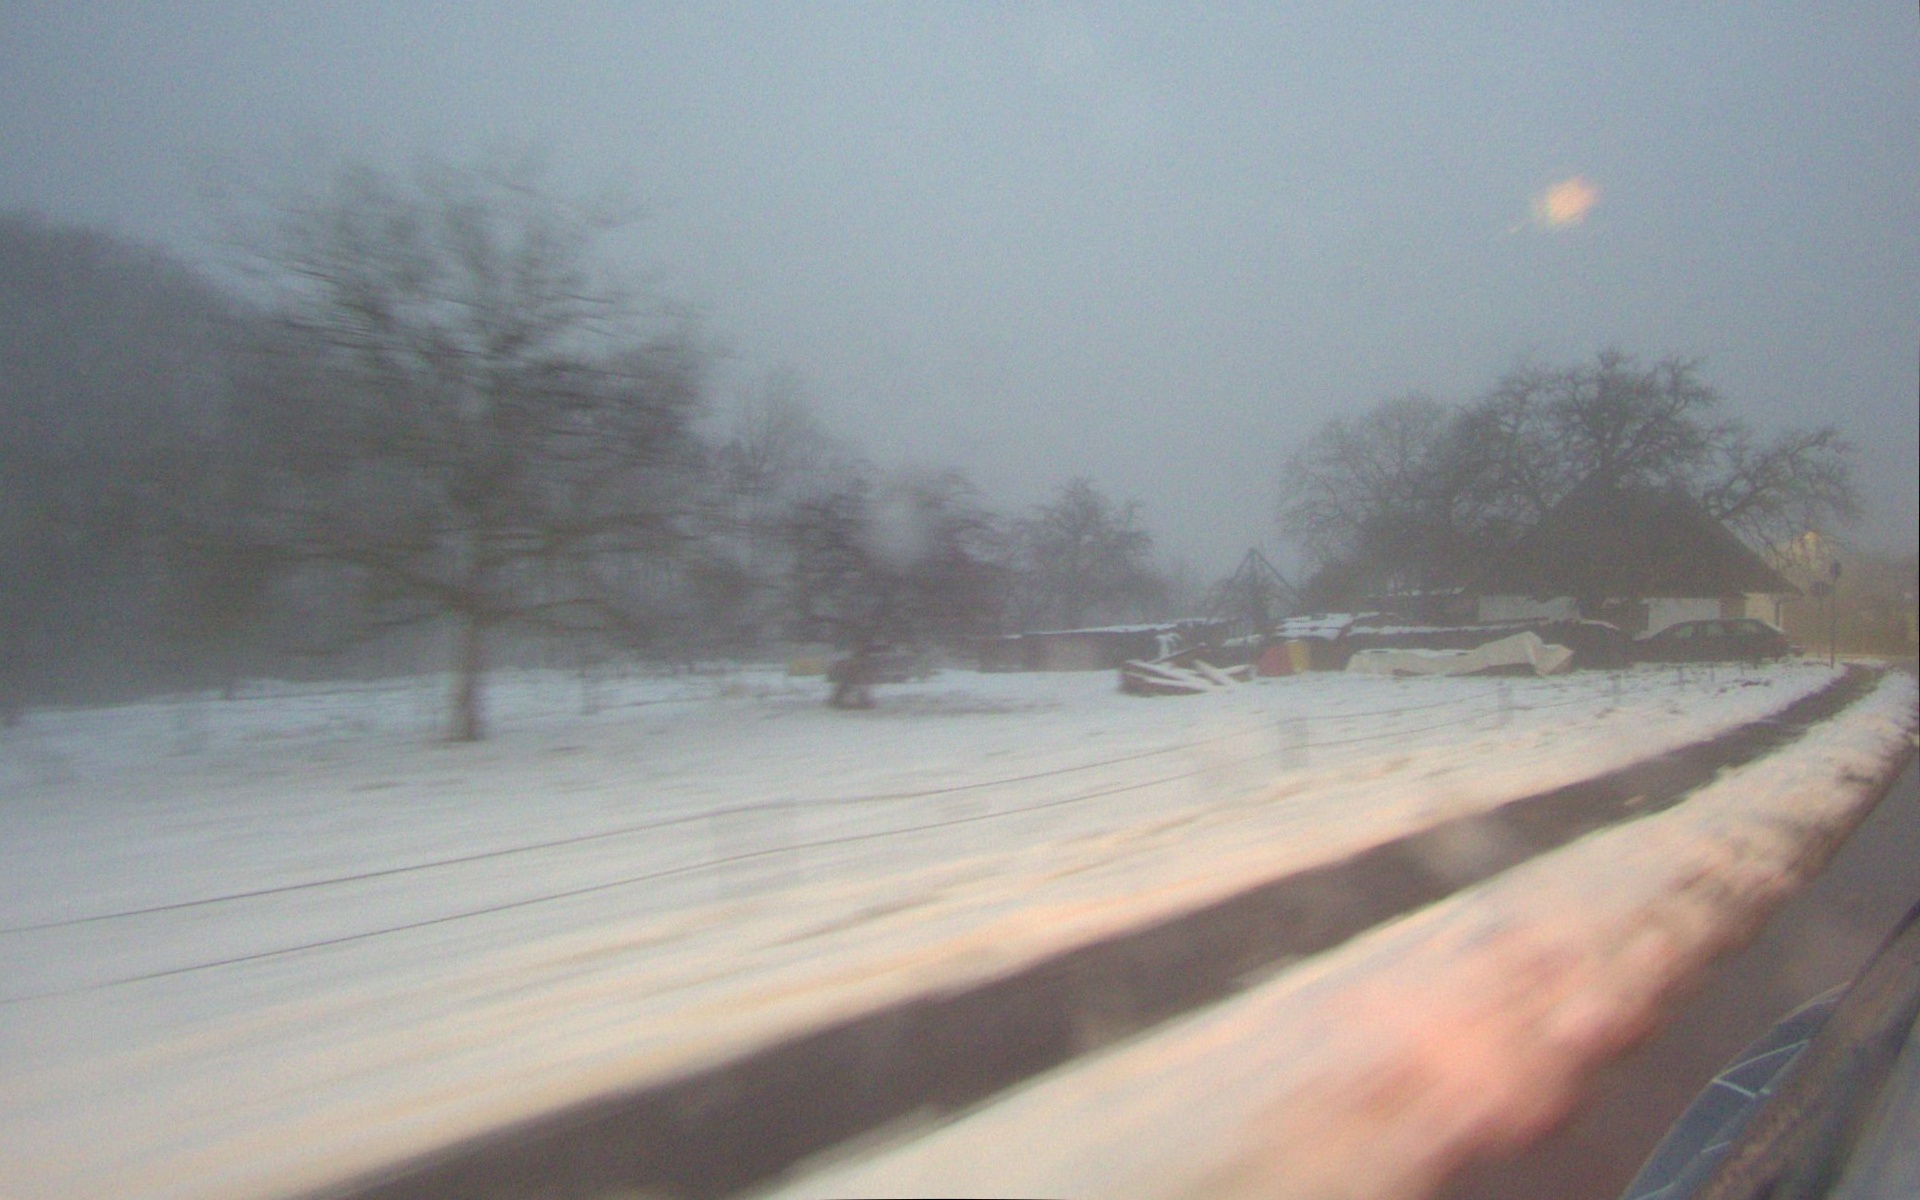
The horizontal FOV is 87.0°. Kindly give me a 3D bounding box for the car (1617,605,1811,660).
[{"bbox_3d":[22.870,1.015,30.822,4.449,1.400,2.003,-6,-5,45],"label":"car"}]

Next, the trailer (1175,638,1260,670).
[{"bbox_3d":[9.301,1.910,36.339,1.837,0.958,3.616,2,0,34],"label":"trailer"}]

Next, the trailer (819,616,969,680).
[{"bbox_3d":[-2.222,1.552,33.246,4.733,1.968,2.192,-2,-3,40],"label":"trailer"}]

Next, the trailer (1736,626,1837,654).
[{"bbox_3d":[32.887,1.570,40.390,1.527,0.958,3.982,2,0,14],"label":"trailer"}]
